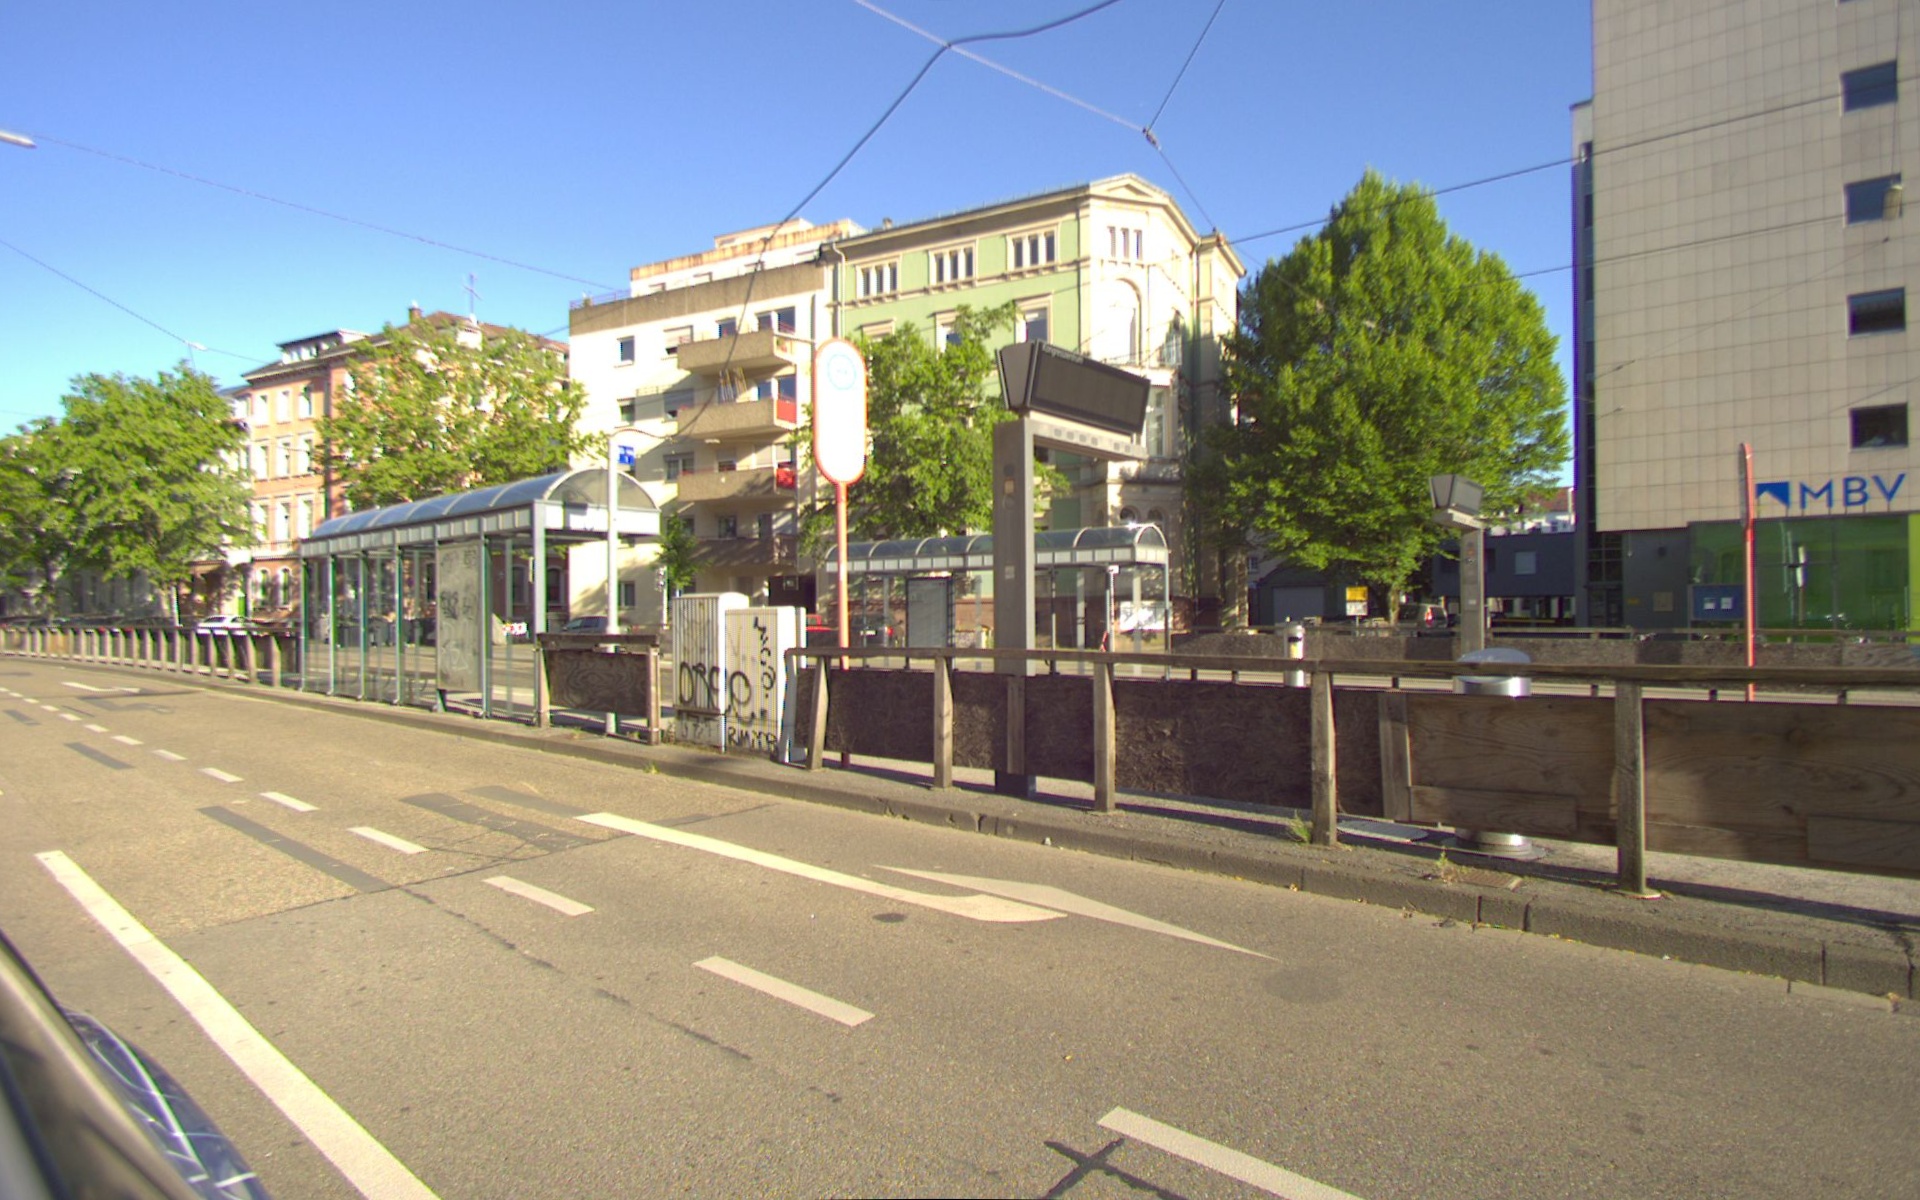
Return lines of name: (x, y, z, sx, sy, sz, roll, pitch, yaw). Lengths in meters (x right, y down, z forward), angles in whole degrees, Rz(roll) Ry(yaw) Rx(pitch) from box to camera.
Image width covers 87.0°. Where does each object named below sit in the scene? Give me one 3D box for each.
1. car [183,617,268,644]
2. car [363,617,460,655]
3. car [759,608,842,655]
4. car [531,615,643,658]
car: (-39.223, 1.593, 54.150, 1.565, 1.360, 3.631, 0, -1, 11)
car: (-23.540, 1.531, 43.383, 3.987, 1.541, 1.978, -1, -2, 32)
car: (-7.209, 1.415, 46.188, 1.791, 2.029, 3.963, -1, -1, 27)
car: (-14.169, 1.398, 38.446, 3.987, 1.542, 1.978, -1, -3, 32)
